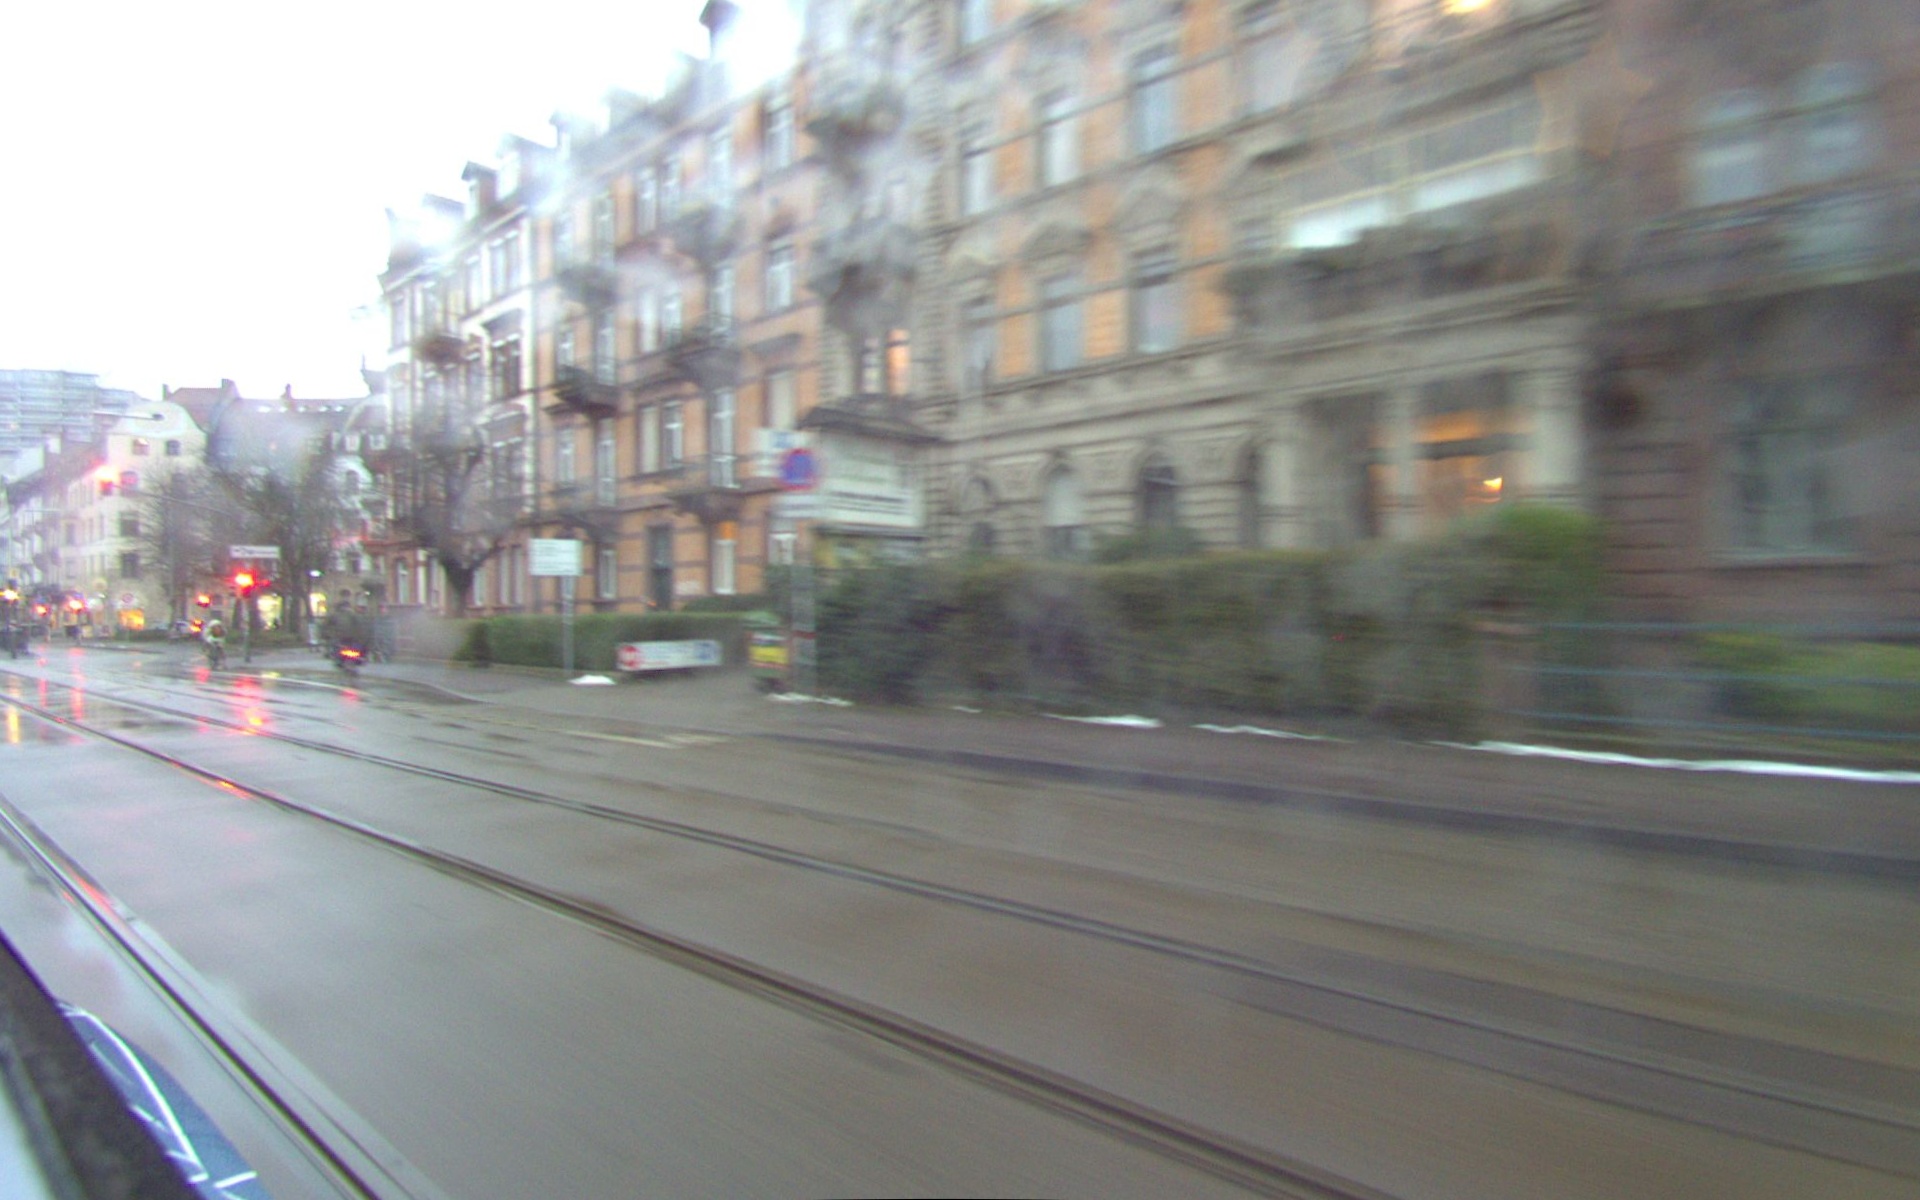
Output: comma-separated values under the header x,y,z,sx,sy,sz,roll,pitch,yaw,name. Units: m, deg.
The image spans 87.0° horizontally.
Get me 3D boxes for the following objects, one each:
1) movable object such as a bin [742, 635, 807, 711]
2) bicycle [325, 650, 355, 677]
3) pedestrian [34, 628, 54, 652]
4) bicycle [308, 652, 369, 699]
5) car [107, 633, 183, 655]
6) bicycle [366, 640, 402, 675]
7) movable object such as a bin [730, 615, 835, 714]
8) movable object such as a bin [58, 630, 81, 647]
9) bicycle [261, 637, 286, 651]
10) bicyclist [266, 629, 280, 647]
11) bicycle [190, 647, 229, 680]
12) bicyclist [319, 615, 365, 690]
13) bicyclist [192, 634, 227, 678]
x,y,z,sx,sy,sz,roll,pitch,yaw,name
-3.370,1.312,18.416,0.745,1.302,0.886,-2,-1,39,movable object such as a bin
-21.311,2.162,34.780,1.849,0.869,0.395,-1,-1,43,bicycle
-76.106,3.330,84.064,0.785,1.892,0.897,-3,1,-13,pedestrian
-14.126,1.695,22.986,1.933,0.979,0.671,-1,-1,42,bicycle
-61.082,3.255,75.928,4.270,1.595,1.942,1,-2,-33,car
-17.887,1.769,31.414,1.849,1.014,0.412,-1,-1,43,bicycle
-3.061,1.072,17.437,1.229,1.598,1.308,-1,0,-44,movable object such as a bin
-79.921,3.448,90.842,1.280,1.382,1.336,-2,2,40,movable object such as a bin
-51.764,3.306,76.298,1.794,1.014,0.490,-1,-2,15,bicycle
-51.793,2.855,76.292,0.758,1.374,0.528,-1,1,15,bicyclist
-24.386,2.035,32.863,1.802,1.014,0.674,-2,-2,42,bicycle
-13.922,1.162,22.803,0.765,1.628,0.676,-2,-1,42,bicyclist
-24.349,1.810,32.824,0.944,1.374,0.697,-1,1,43,bicyclist
